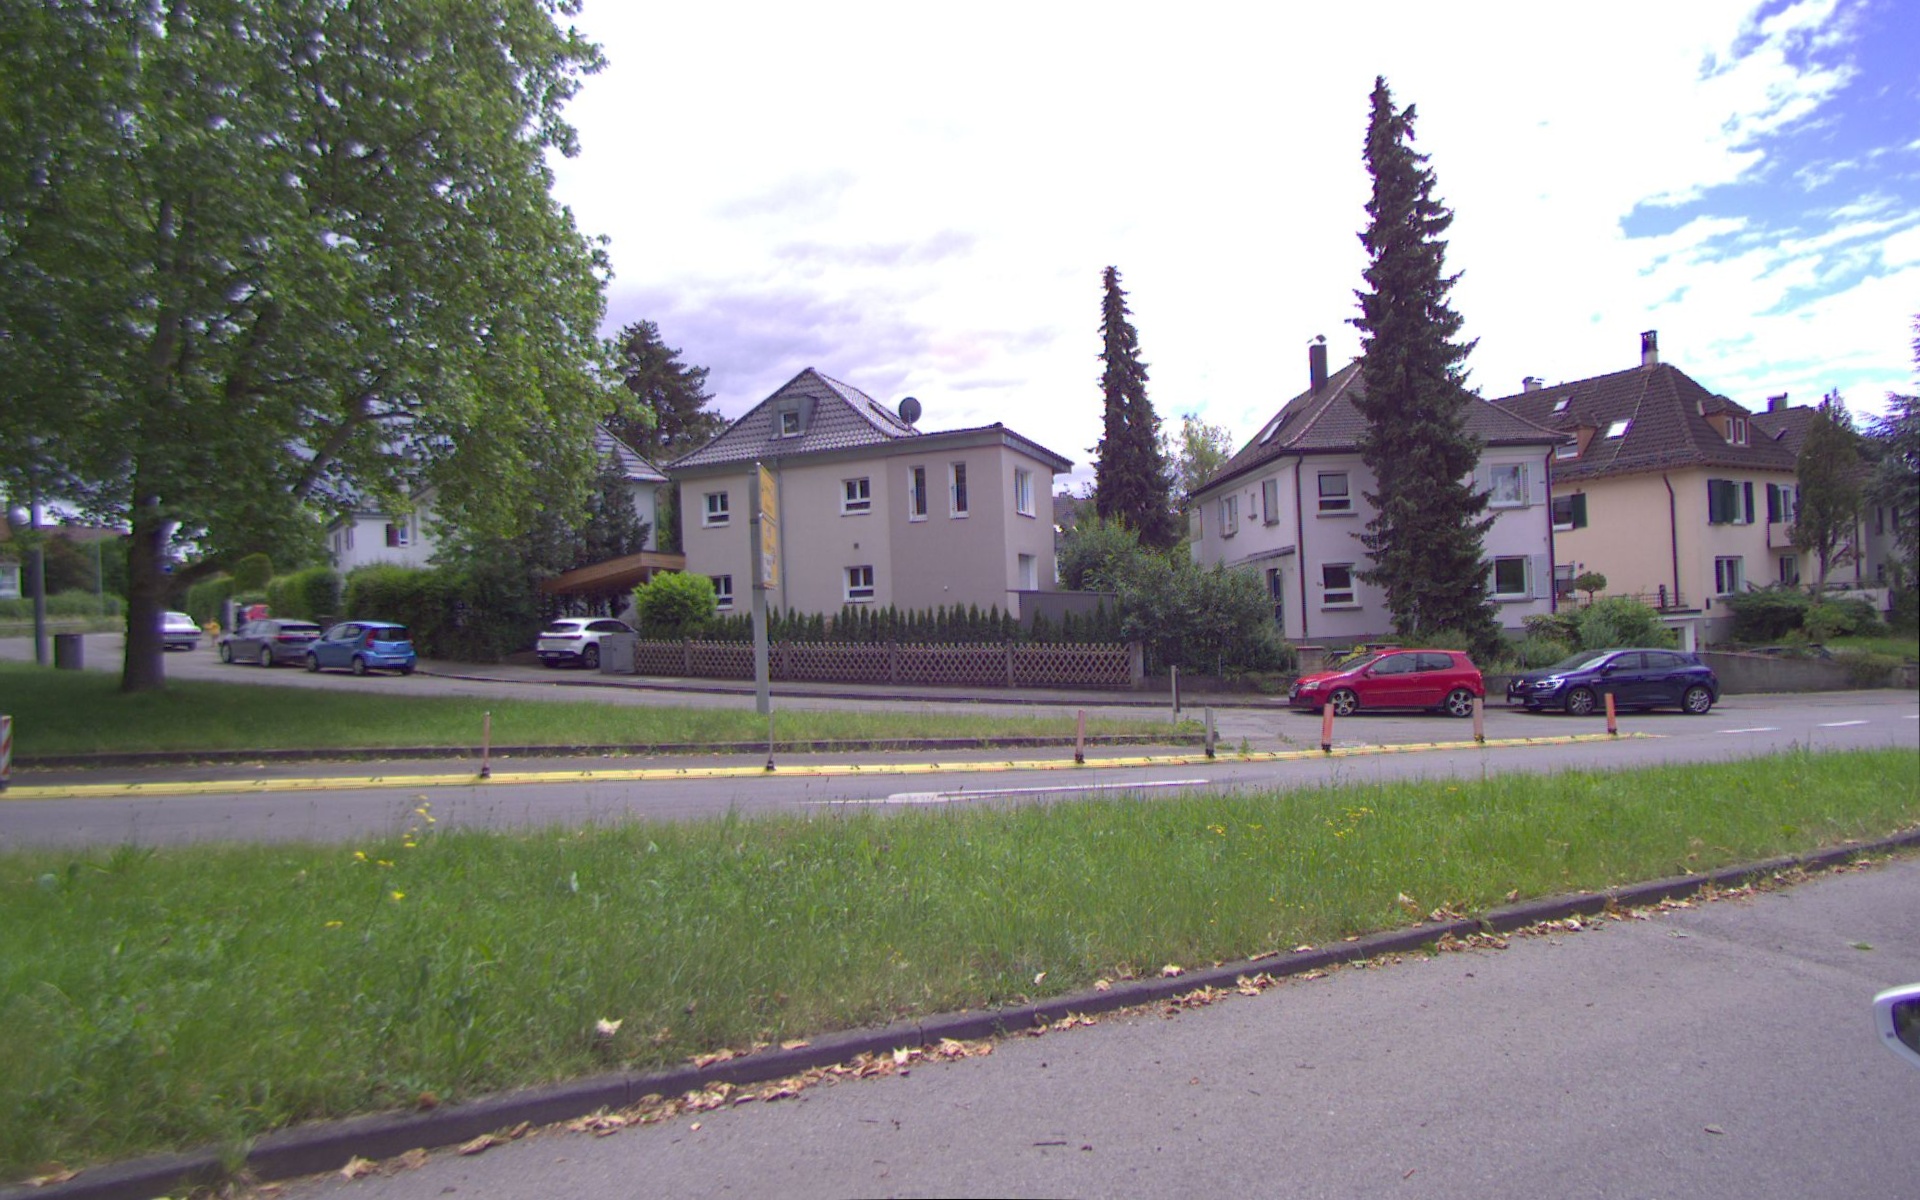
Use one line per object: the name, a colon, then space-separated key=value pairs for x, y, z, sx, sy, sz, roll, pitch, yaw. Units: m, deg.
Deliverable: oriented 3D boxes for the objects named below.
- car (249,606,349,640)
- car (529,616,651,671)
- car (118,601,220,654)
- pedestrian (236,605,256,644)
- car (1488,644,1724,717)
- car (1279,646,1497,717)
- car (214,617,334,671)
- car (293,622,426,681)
car: x=-31.422 y=1.088 z=47.811 sx=3.796 sy=1.537 sz=1.590 roll=1 pitch=-1 yaw=-42
car: x=-12.120 y=1.396 z=33.117 sx=1.841 sy=1.568 sz=3.375 roll=-3 pitch=-1 yaw=27
car: x=-31.154 y=1.016 z=39.527 sx=4.809 sy=1.815 sz=2.206 roll=1 pitch=2 yaw=40
pedestrian: x=-30.233 y=1.035 z=42.530 sx=0.565 sy=1.585 sz=0.638 roll=-3 pitch=0 yaw=-30
car: x=14.455 y=1.769 z=22.627 sx=4.231 sy=1.493 sz=1.732 roll=-1 pitch=-1 yaw=-3
car: x=9.604 y=1.822 z=22.781 sx=4.193 sy=1.493 sz=1.733 roll=-1 pitch=-1 yaw=2
car: x=-22.708 y=1.419 z=33.231 sx=3.925 sy=1.534 sz=1.658 roll=1 pitch=2 yaw=29
car: x=-18.572 y=1.541 z=31.072 sx=3.708 sy=1.576 sz=1.781 roll=1 pitch=2 yaw=26
